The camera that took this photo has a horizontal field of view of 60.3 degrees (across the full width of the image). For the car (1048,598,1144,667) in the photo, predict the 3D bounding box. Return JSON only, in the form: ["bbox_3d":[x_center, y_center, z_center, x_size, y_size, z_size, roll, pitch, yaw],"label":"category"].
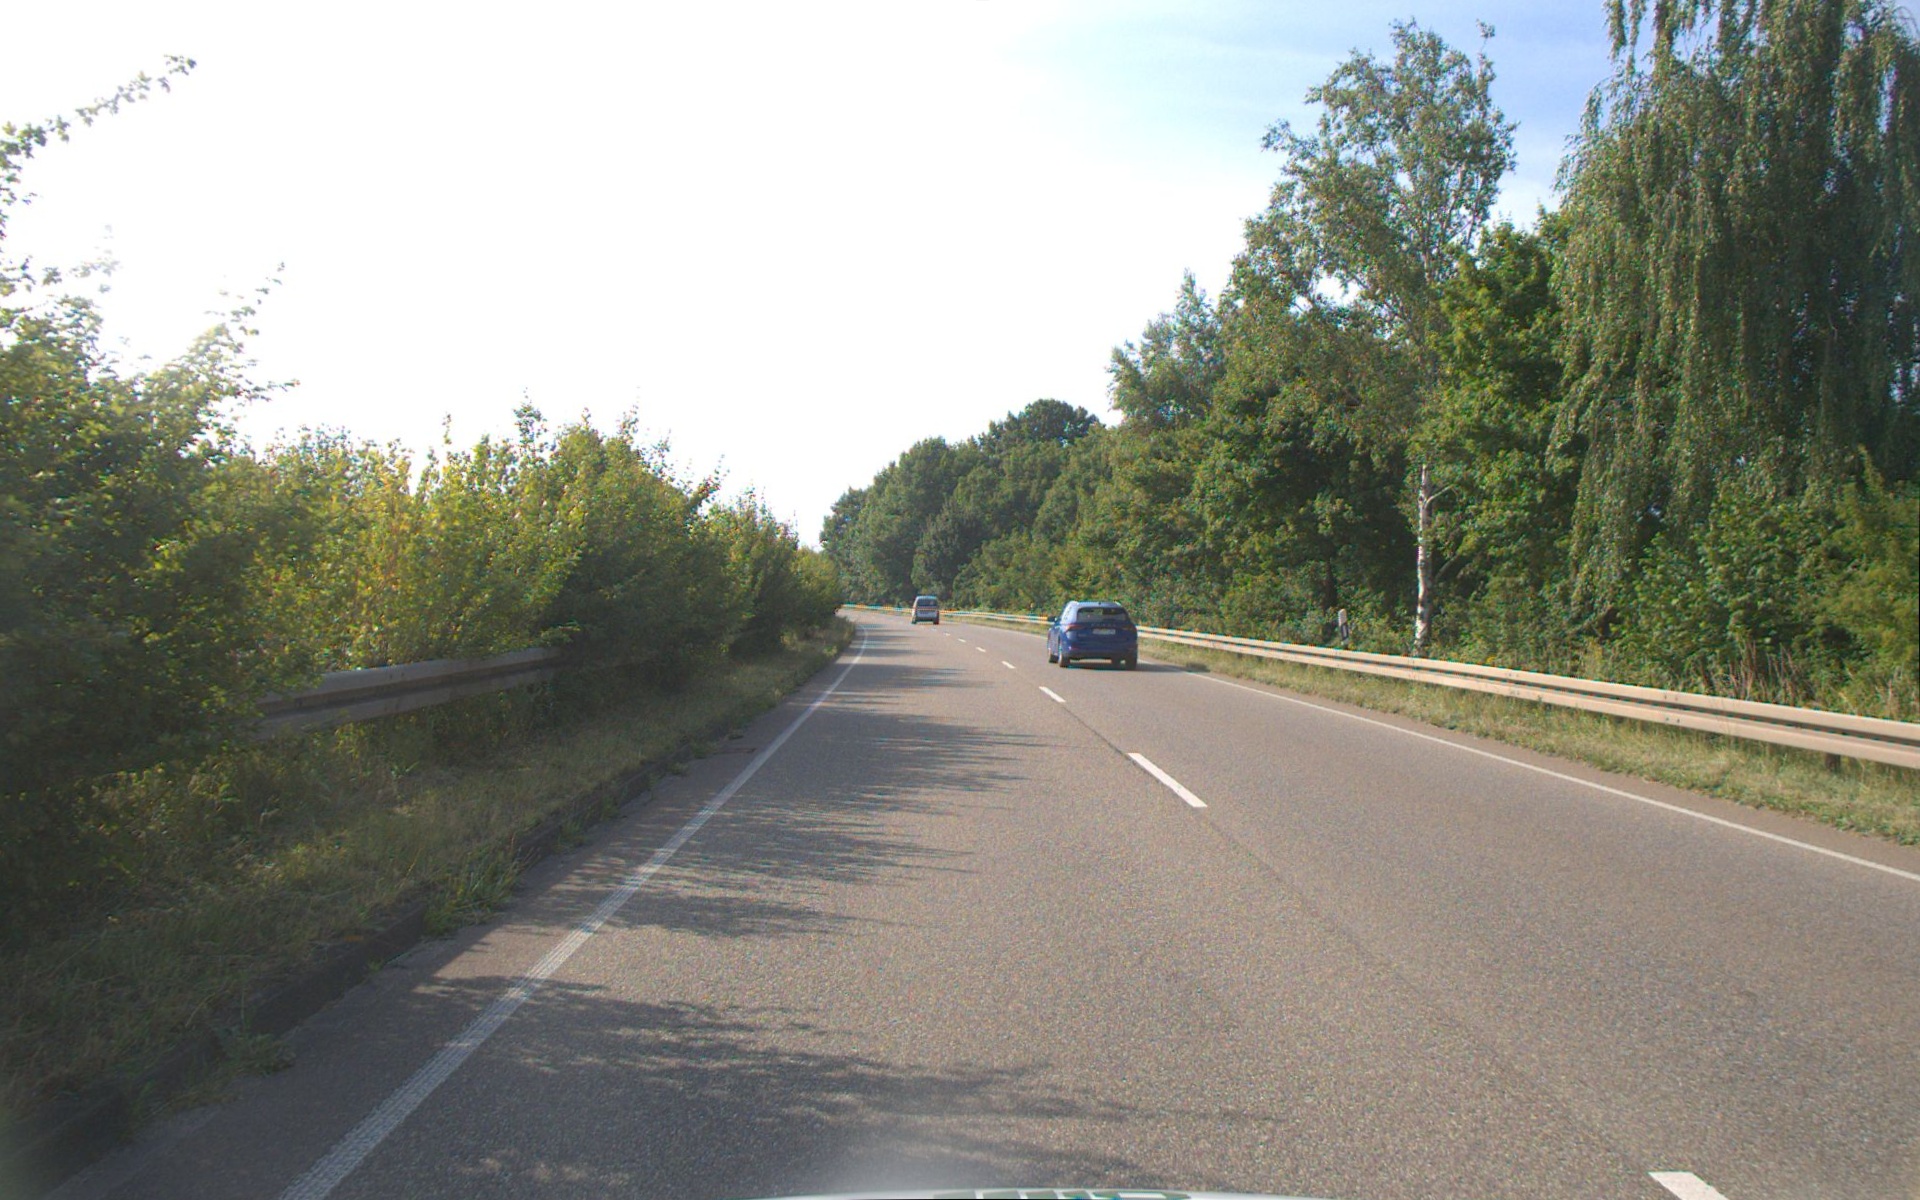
[{"bbox_3d":[3.053,0.704,37.788,1.743,1.477,3.998,1,0,-2],"label":"car"}]

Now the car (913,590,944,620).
[{"bbox_3d":[-2.115,0.301,109.739,1.731,1.914,3.996,1,1,-5],"label":"car"}]
